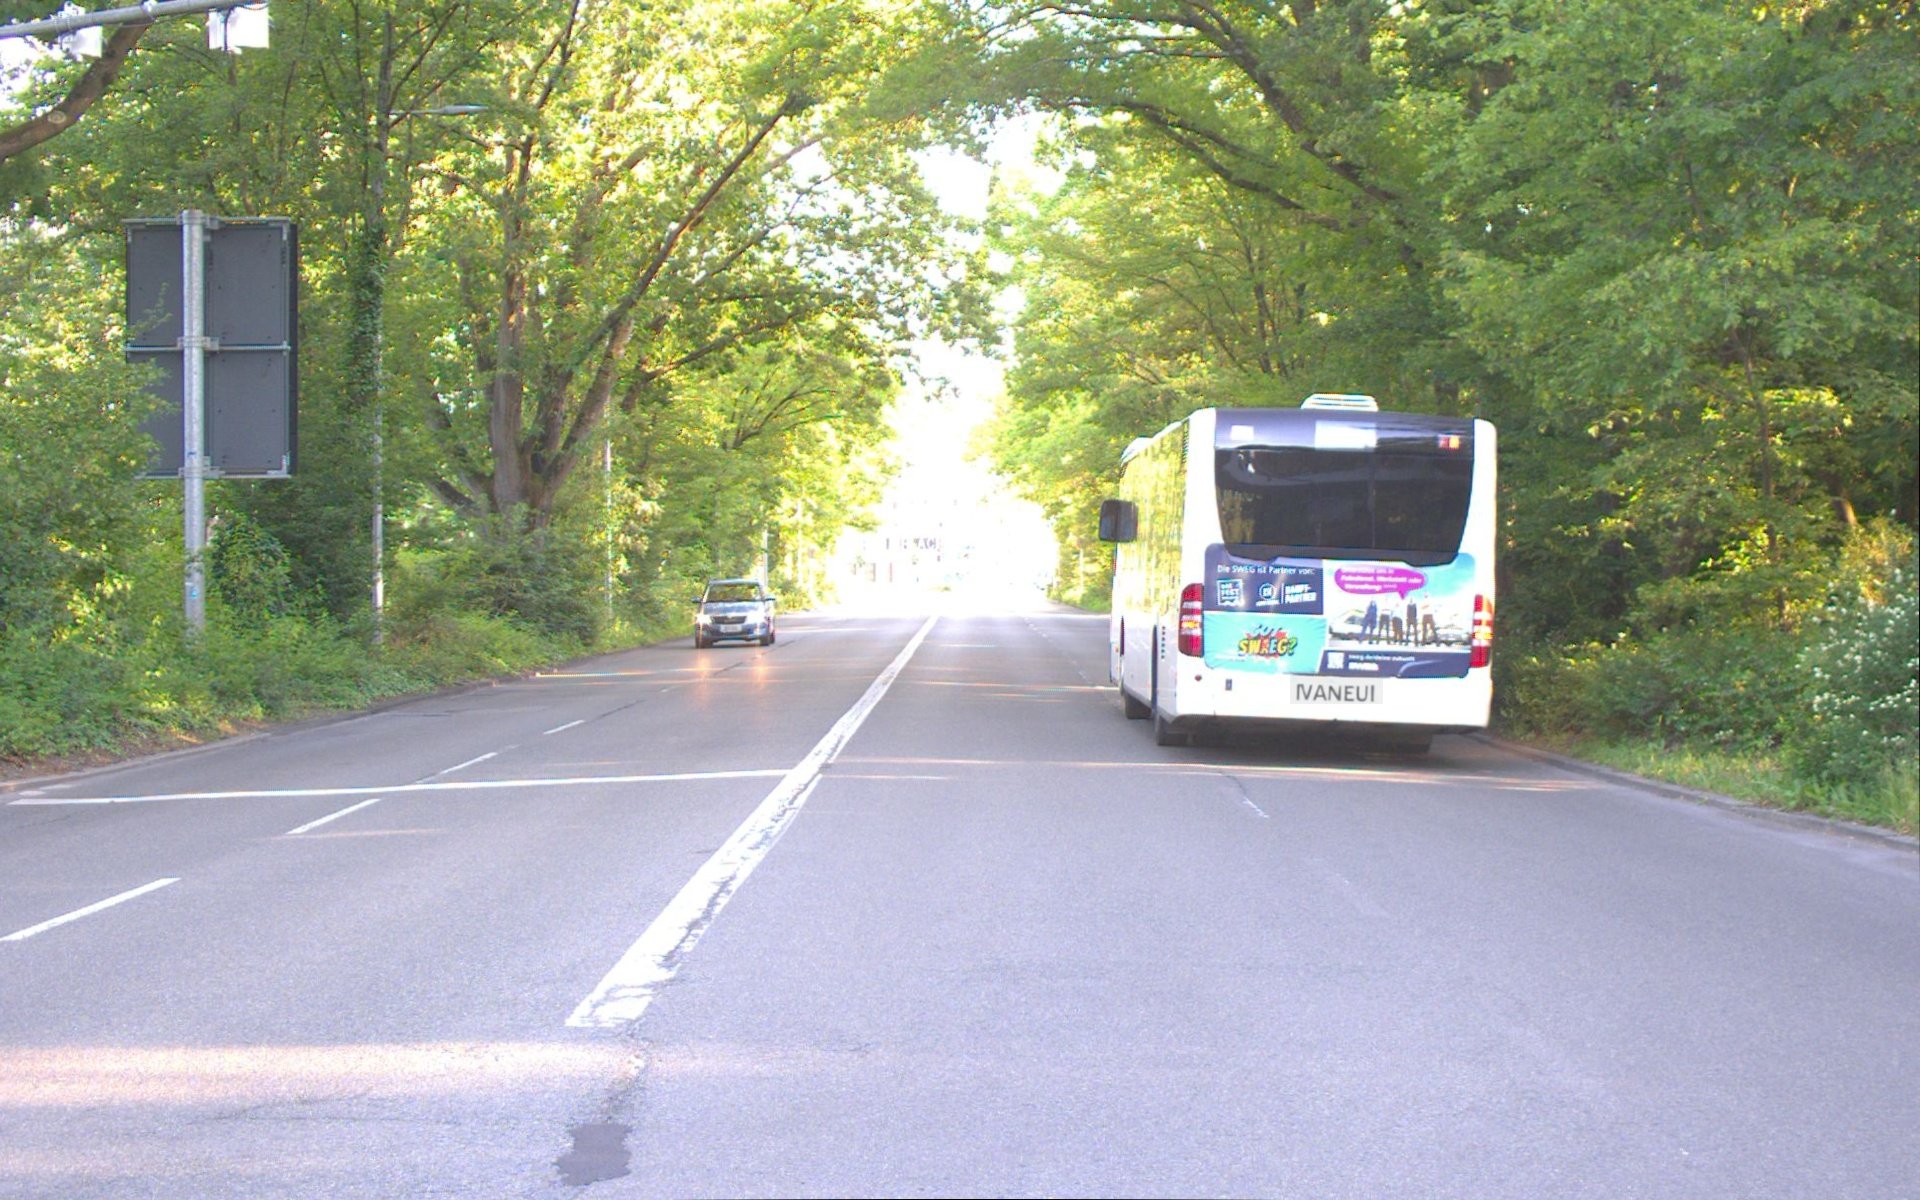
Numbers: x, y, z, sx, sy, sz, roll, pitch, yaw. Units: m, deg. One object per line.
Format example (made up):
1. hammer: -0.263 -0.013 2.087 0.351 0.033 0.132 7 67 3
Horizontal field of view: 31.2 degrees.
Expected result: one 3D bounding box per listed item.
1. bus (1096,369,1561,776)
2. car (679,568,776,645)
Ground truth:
1. bus: 3.142 -0.276 33.195 3.012 3.077 12.270 2 1 0
2. car: -5.157 0.121 76.697 1.806 1.574 4.319 -2 1 0
